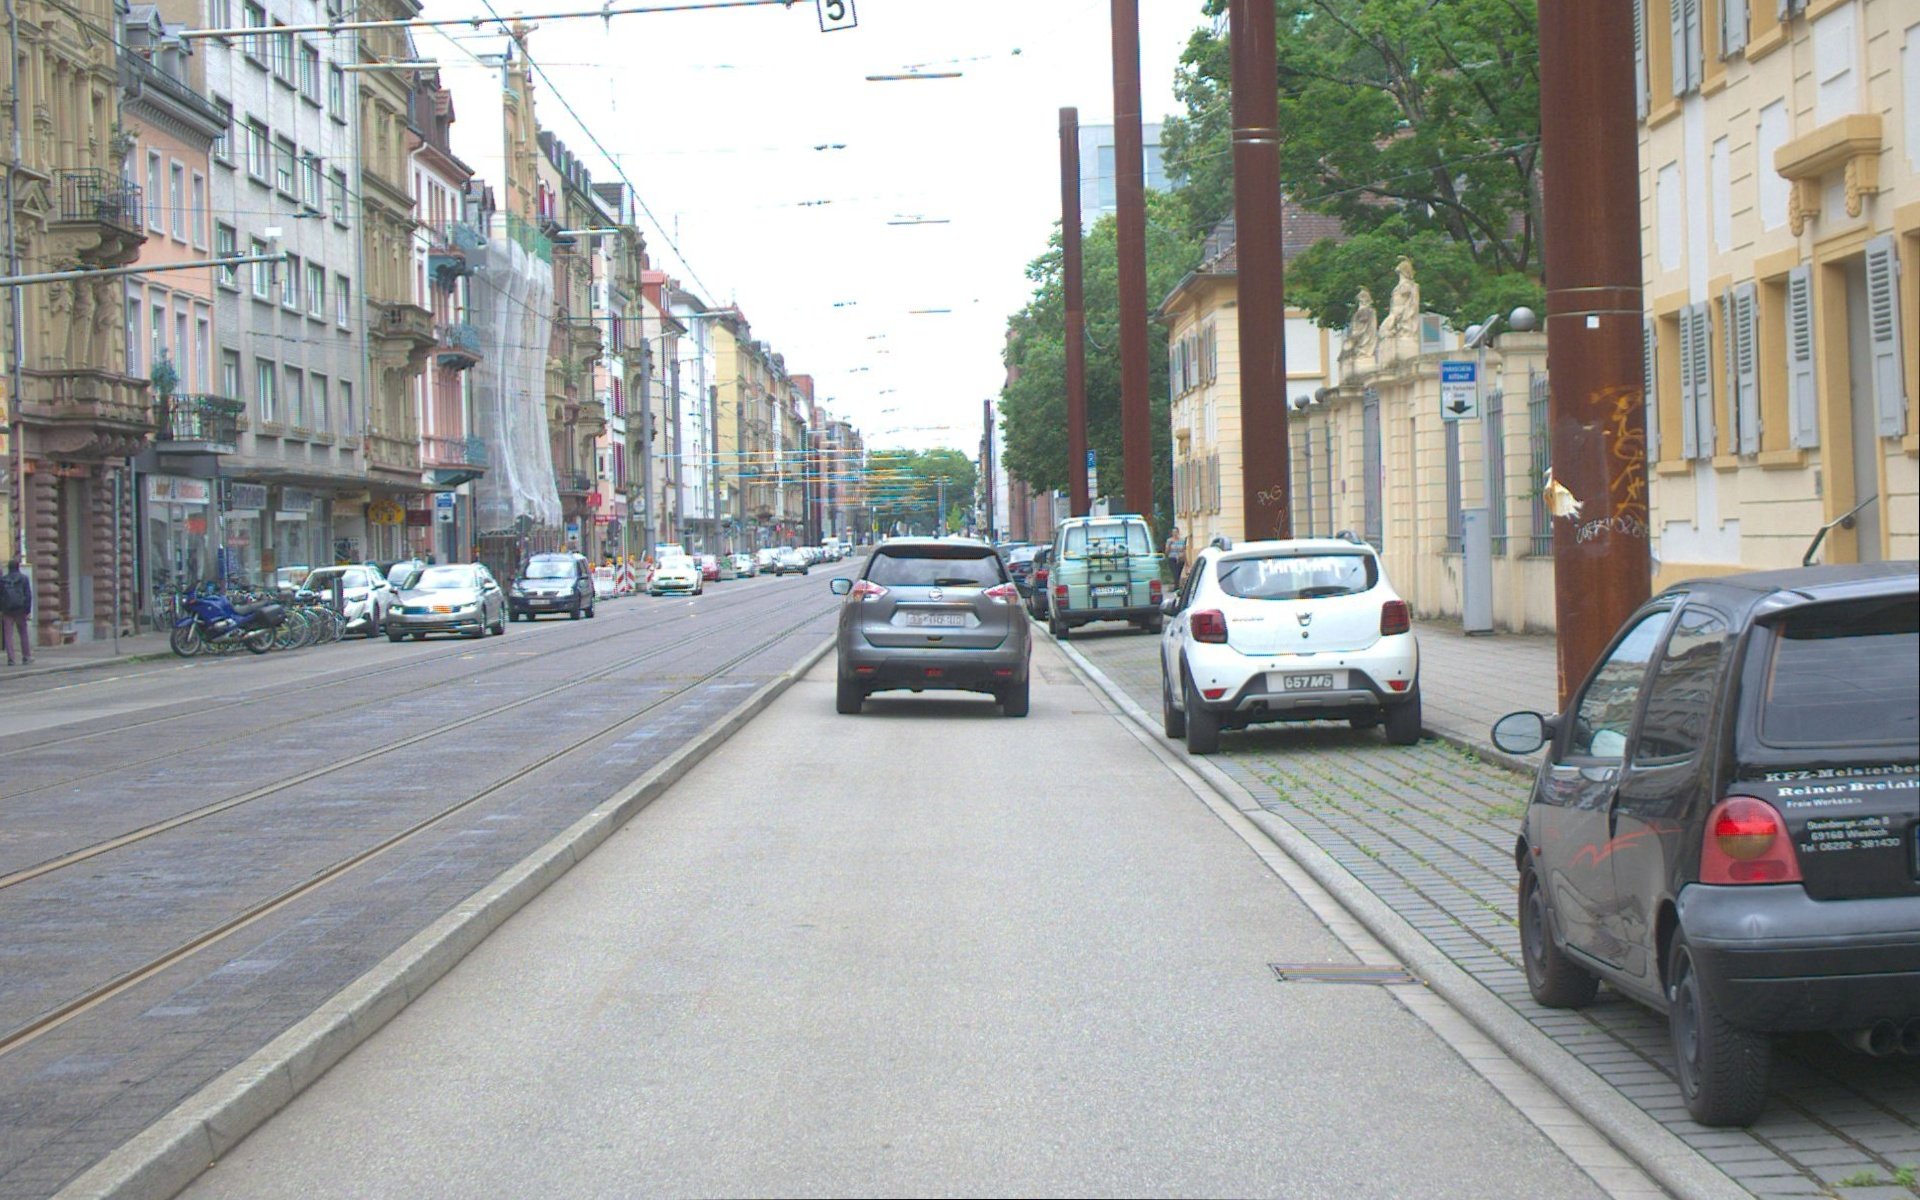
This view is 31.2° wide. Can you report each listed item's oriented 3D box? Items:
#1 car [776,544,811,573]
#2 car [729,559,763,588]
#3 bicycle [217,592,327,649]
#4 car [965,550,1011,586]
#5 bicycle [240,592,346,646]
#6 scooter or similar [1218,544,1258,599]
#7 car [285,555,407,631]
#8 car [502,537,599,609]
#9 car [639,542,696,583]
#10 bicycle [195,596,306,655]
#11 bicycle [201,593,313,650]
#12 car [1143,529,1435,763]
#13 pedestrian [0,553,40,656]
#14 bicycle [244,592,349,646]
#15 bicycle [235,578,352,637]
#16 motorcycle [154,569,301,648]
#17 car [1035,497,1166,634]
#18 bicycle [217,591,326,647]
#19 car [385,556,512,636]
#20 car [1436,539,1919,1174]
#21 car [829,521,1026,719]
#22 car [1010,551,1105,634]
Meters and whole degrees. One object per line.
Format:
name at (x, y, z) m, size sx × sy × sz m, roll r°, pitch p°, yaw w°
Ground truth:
car at (-9.975, -2.495, 205.498) m, size 1.993 × 1.629 × 4.000 m, roll -1°, pitch 0°, yaw -3°
car at (-12.914, -1.582, 207.273) m, size 1.993 × 1.629 × 4.000 m, roll -1°, pitch 0°, yaw -3°
bicycle at (-12.888, 0.384, 64.423) m, size 1.965 × 0.998 × 0.463 m, roll -2°, pitch 1°, yaw -7°
car at (1.140, -1.318, 139.813) m, size 1.776 × 1.415 × 4.135 m, roll -1°, pitch 1°, yaw 0°
bicycle at (-12.882, 0.363, 66.449) m, size 1.965 × 0.998 × 0.463 m, roll -2°, pitch 1°, yaw -7°
scooter or similar at (6.467, -0.654, 80.112) m, size 0.747 × 1.246 × 1.919 m, roll -1°, pitch 0°, yaw 0°
car at (-12.824, -0.171, 72.039) m, size 1.776 × 1.499 × 4.402 m, roll -1°, pitch 1°, yaw 0°
car at (-9.932, -0.672, 83.674) m, size 1.759 × 1.666 × 4.614 m, roll -1°, pitch 1°, yaw 0°
car at (-10.535, -1.364, 124.132) m, size 1.687 × 1.415 × 4.135 m, roll -1°, pitch 1°, yaw 0°
bicycle at (-12.870, 0.461, 62.380) m, size 1.921 × 0.998 × 0.463 m, roll -2°, pitch 1°, yaw -7°
bicycle at (-12.904, 0.390, 63.139) m, size 1.965 × 0.998 × 0.463 m, roll -2°, pitch 1°, yaw -7°
car at (2.475, 0.300, 26.703) m, size 1.755 × 1.569 × 3.931 m, roll -4°, pitch 1°, yaw -1°
pedestrian at (-14.857, 0.062, 54.024) m, size 0.568 × 1.592 × 0.718 m, roll -1°, pitch 1°, yaw 0°
bicycle at (-12.927, 0.362, 66.995) m, size 1.965 × 0.998 × 0.463 m, roll -2°, pitch 1°, yaw -7°
bicycle at (-13.272, 0.148, 68.496) m, size 2.230 × 1.122 × 0.504 m, roll -2°, pitch 1°, yaw -7°
motorcycle at (-12.860, 0.139, 60.421) m, size 2.337 × 1.298 × 0.883 m, roll -2°, pitch 1°, yaw -36°
car at (2.337, -0.597, 58.332) m, size 1.851 × 2.108 × 4.985 m, roll -4°, pitch 1°, yaw 0°
bicycle at (-12.996, 0.362, 64.935) m, size 1.965 × 0.998 × 0.463 m, roll -2°, pitch 1°, yaw -7°
car at (-9.902, -0.105, 66.839) m, size 1.759 × 1.444 × 4.614 m, roll -1°, pitch 1°, yaw 0°
car at (2.569, 0.581, 10.223) m, size 1.637 × 1.429 × 3.931 m, roll -4°, pitch 1°, yaw -1°
car at (-0.310, 0.157, 33.382) m, size 1.749 × 1.750 × 3.924 m, roll 2°, pitch 1°, yaw 0°
car at (2.034, -0.189, 72.666) m, size 1.749 × 1.590 × 3.924 m, roll -4°, pitch 1°, yaw 0°
